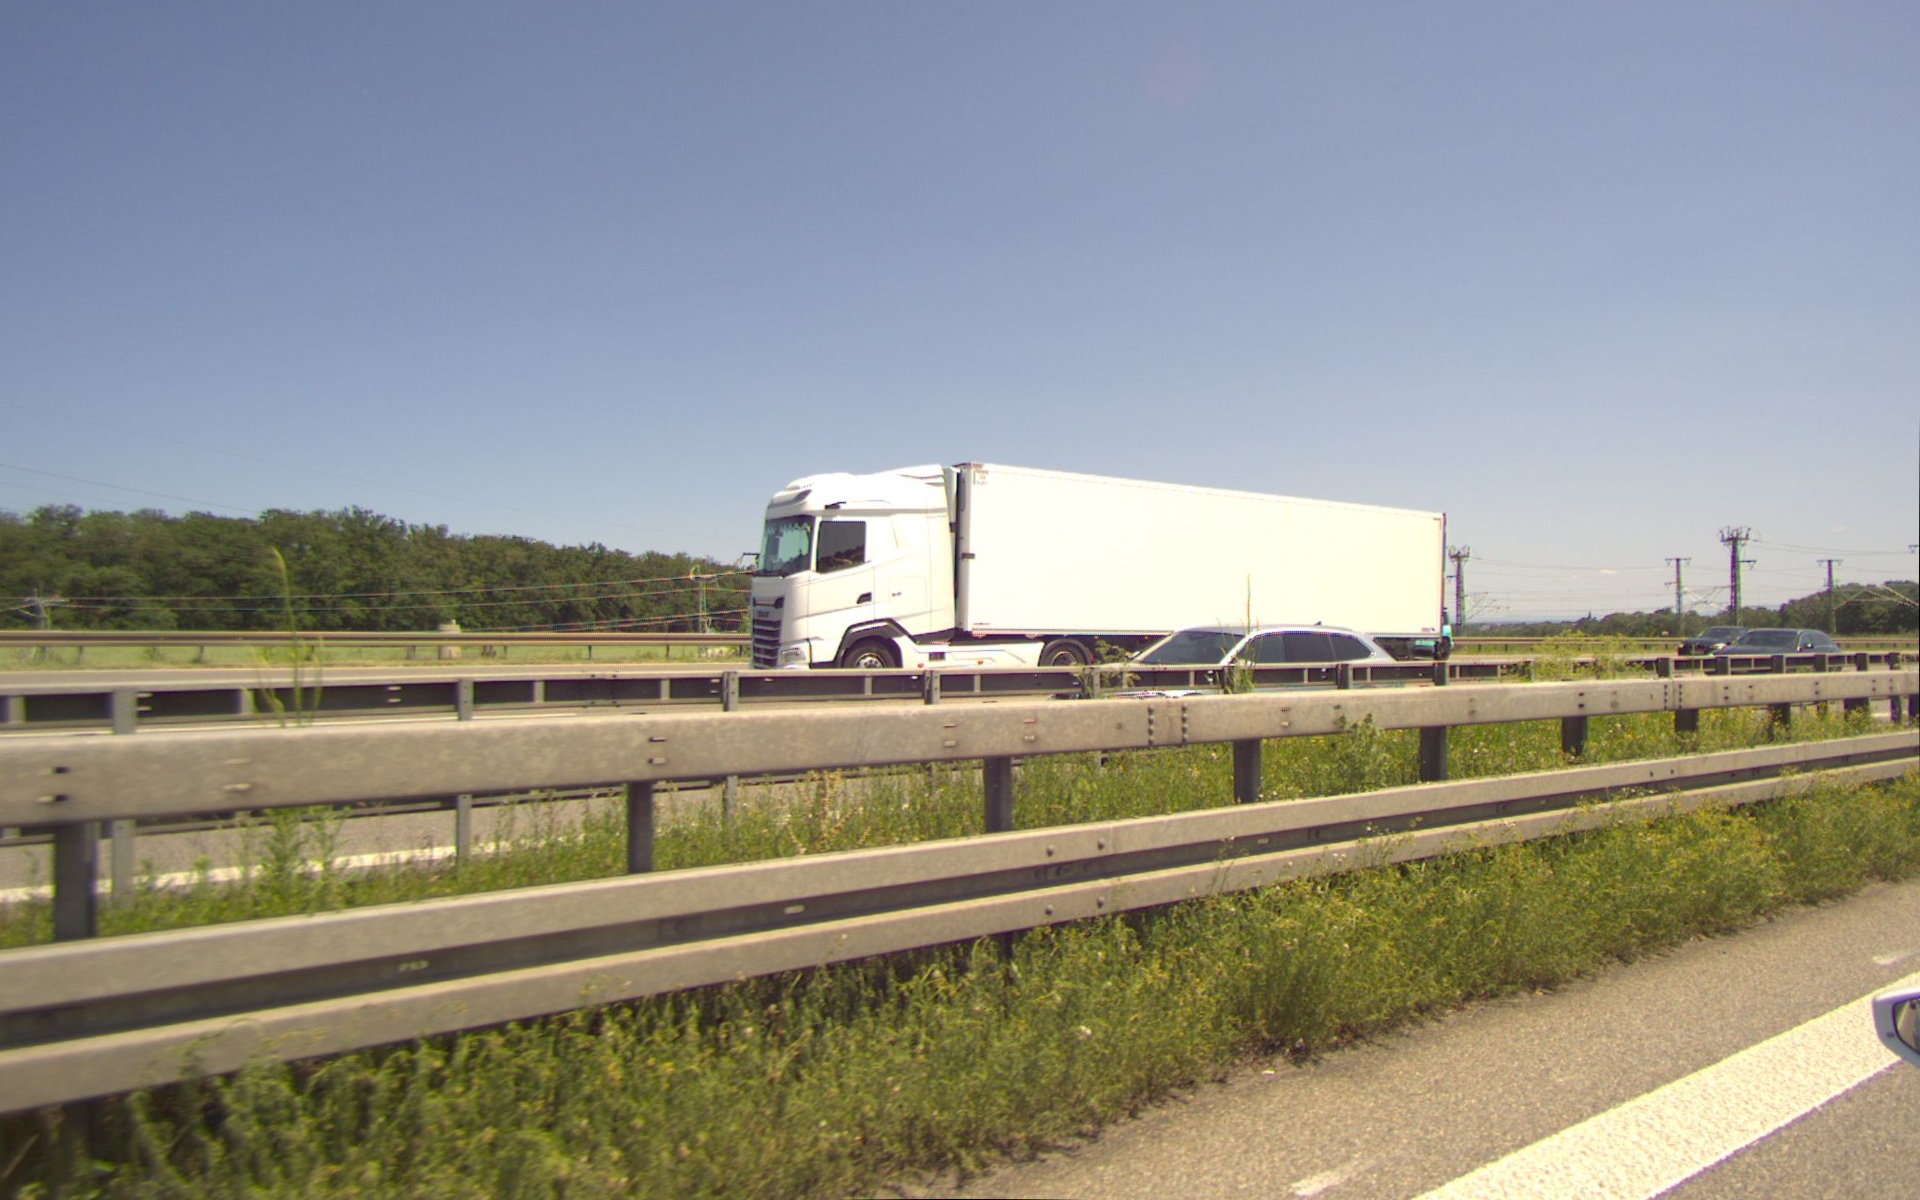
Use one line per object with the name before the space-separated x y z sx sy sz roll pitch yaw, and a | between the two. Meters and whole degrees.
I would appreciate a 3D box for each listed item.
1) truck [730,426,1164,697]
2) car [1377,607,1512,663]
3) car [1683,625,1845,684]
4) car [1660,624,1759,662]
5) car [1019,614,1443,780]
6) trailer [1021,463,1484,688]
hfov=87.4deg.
truck | -0.160 -0.523 19.041 7.598 4.265 3.235 1 -1 -29
car | 17.961 1.280 37.170 5.100 1.939 2.006 1 -1 -30
car | 22.268 1.462 27.770 4.937 1.479 1.833 1 -1 -30
car | 30.752 1.764 41.193 4.402 1.444 1.688 1 0 -30
car | 3.375 1.015 12.006 5.294 1.609 1.722 1 -1 -31
trailer | 7.052 -0.290 23.149 11.271 4.248 3.209 2 -1 -29
